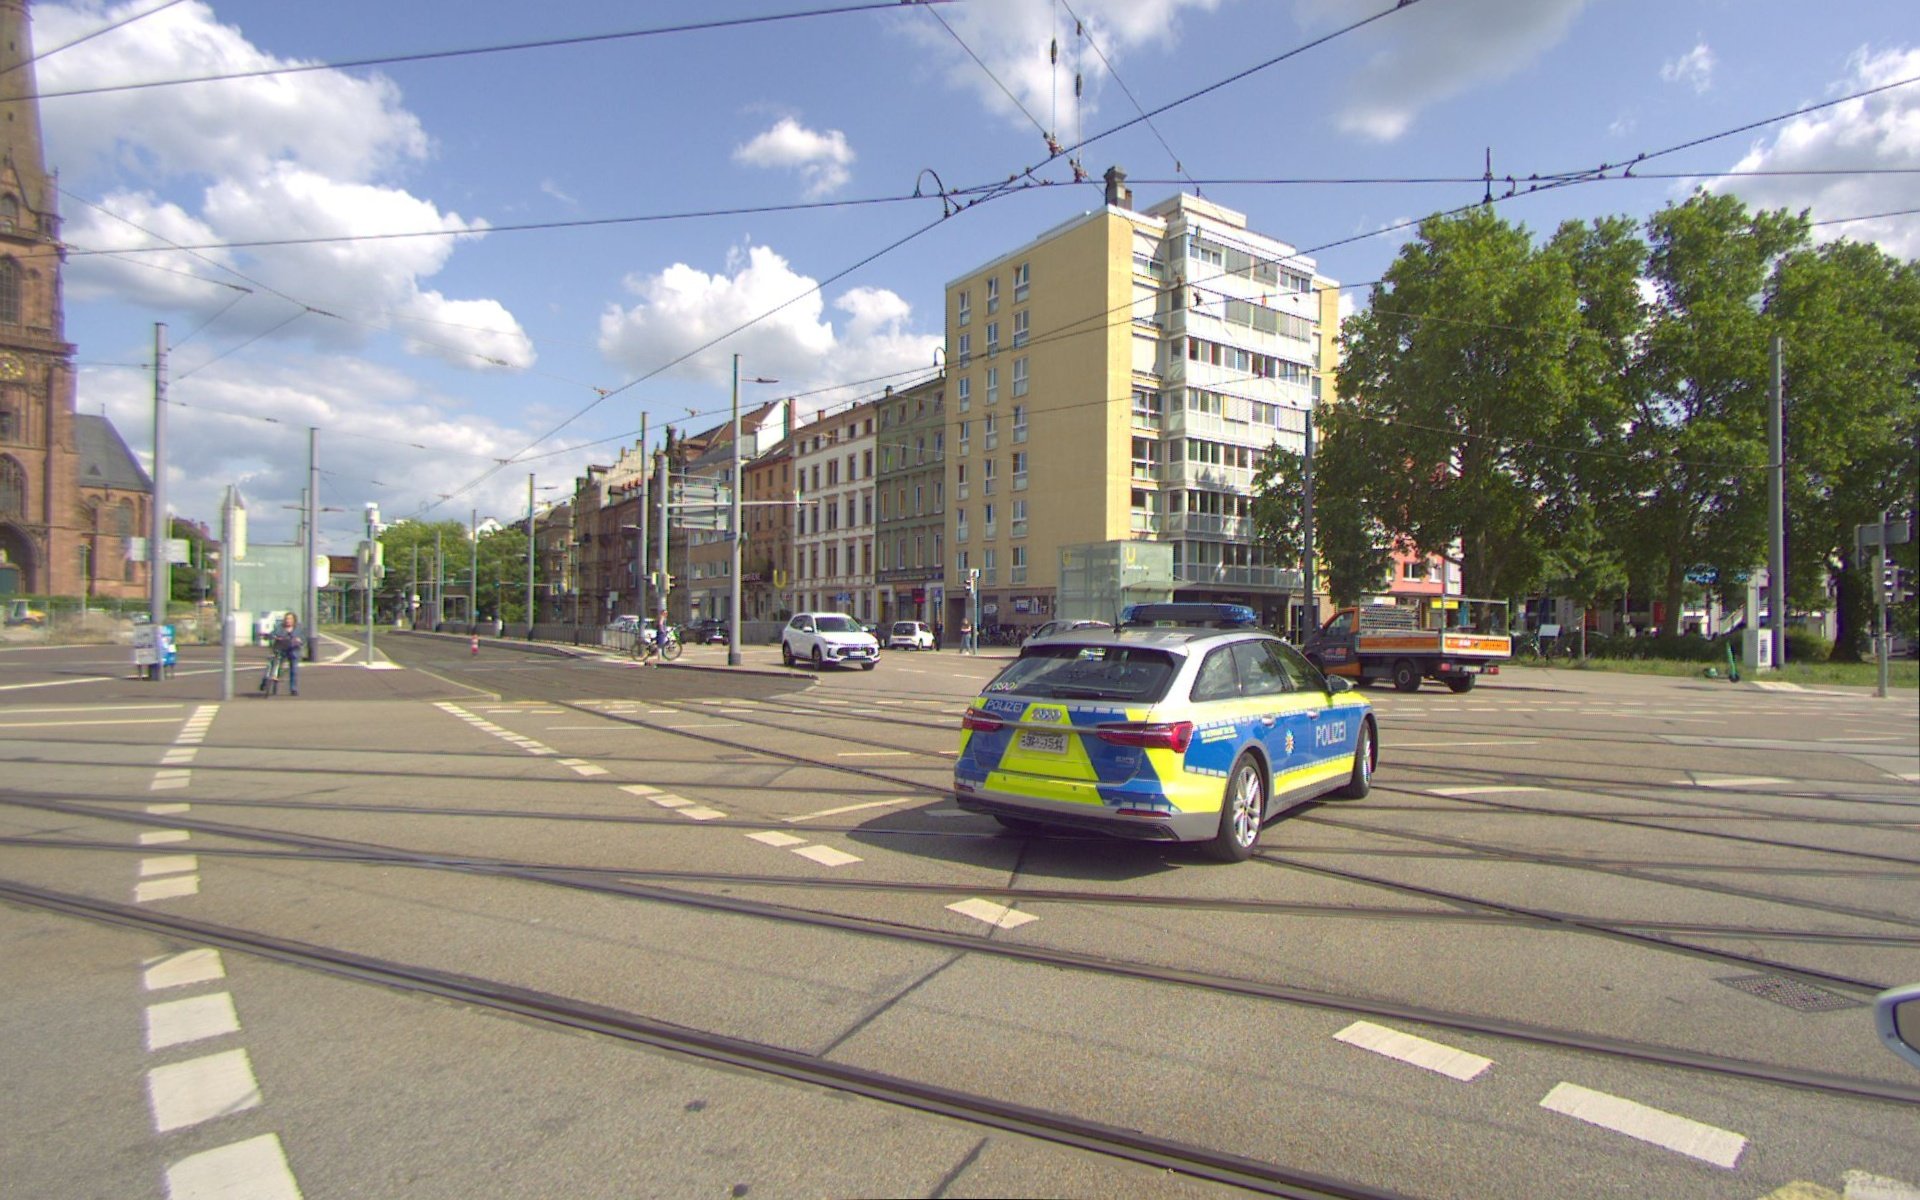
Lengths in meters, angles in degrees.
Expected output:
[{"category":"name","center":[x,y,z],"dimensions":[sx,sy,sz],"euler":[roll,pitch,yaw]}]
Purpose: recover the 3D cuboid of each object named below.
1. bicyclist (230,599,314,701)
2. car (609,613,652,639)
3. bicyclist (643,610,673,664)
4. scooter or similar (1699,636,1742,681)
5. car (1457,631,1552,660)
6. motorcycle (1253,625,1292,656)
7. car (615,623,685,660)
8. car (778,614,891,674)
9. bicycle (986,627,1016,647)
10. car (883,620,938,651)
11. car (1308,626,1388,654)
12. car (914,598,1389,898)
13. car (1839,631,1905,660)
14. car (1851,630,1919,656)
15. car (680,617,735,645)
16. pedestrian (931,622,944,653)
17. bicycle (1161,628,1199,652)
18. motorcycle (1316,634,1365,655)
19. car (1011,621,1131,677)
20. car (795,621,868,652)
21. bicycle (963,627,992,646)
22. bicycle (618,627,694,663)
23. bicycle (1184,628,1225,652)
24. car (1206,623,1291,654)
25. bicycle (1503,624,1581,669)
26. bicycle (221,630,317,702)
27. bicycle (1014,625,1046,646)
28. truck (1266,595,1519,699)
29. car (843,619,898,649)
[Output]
[{"category":"bicyclist","center":[-12.432,0.895,18.204],"dimensions":[0.981,1.754,1.294],"euler":[1,-2,-24]},{"category":"car","center":[-22.229,1.744,67.660],"dimensions":[2.021,1.599,4.505],"euler":[1,0,-28]},{"category":"bicyclist","center":[-10.376,1.256,34.473],"dimensions":[0.704,1.821,0.771],"euler":[1,1,-39]},{"category":"scooter or similar","center":[21.852,1.671,28.879],"dimensions":[0.391,1.209,1.175],"euler":[2,1,4]},{"category":"car","center":[26.495,2.197,49.011],"dimensions":[1.610,1.344,3.978],"euler":[2,-2,-23]},{"category":"motorcycle","center":[13.384,1.726,43.079],"dimensions":[0.888,1.254,2.218],"euler":[0,-1,-4]},{"category":"car","center":[-13.937,1.825,45.076],"dimensions":[1.979,1.548,4.056],"euler":[1,-1,-33]},{"category":"car","center":[-3.827,1.269,30.047],"dimensions":[2.017,1.661,4.258],"euler":[1,-1,-27]},{"category":"bicycle","center":[2.385,2.160,58.902],"dimensions":[0.790,1.118,1.788],"euler":[1,-1,-40]},{"category":"car","center":[-2.576,1.867,52.895],"dimensions":[1.861,1.516,3.903],"euler":[1,-2,13]},{"category":"car","center":[22.278,2.252,57.808],"dimensions":[1.786,1.515,3.959],"euler":[1,-1,-36]},{"category":"car","center":[1.794,0.836,7.760],"dimensions":[1.855,1.589,4.599],"euler":[0,-1,36]},{"category":"car","center":[62.141,3.100,68.536],"dimensions":[1.805,1.813,4.002],"euler":[1,-2,17]},{"category":"car","center":[65.878,3.051,71.050],"dimensions":[1.811,1.813,3.990],"euler":[2,-2,-13]},{"category":"car","center":[-13.977,1.703,55.426],"dimensions":[1.724,1.395,3.963],"euler":[2,-1,-33]},{"category":"pedestrian","center":[-1.163,1.930,51.375],"dimensions":[0.546,1.554,0.698],"euler":[1,-2,-14]},{"category":"bicycle","center":[11.117,1.988,50.738],"dimensions":[0.790,1.162,1.789],"euler":[1,-1,-39]},{"category":"motorcycle","center":[17.392,2.017,45.949],"dimensions":[2.003,0.929,0.811],"euler":[-1,-1,15]},{"category":"car","center":[3.086,1.348,28.732],"dimensions":[1.826,1.494,3.981],"euler":[0,-1,-20]},{"category":"car","center":[-6.304,1.756,49.082],"dimensions":[1.728,1.395,3.954],"euler":[2,-1,-39]},{"category":"bicycle","center":[1.047,2.183,60.441],"dimensions":[0.790,1.118,1.788],"euler":[1,-1,-40]},{"category":"bicycle","center":[-10.416,1.532,34.443],"dimensions":[2.339,1.153,0.879],"euler":[1,1,-41]},{"category":"bicycle","center":[12.400,2.040,50.977],"dimensions":[0.790,1.162,1.927],"euler":[1,-1,-39]},{"category":"car","center":[14.691,1.953,51.331],"dimensions":[1.657,1.416,3.958],"euler":[3,-2,-37]},{"category":"bicycle","center":[19.832,1.565,34.278],"dimensions":[0.804,1.433,2.153],"euler":[0,0,-36]},{"category":"bicycle","center":[-12.418,1.148,18.150],"dimensions":[0.981,1.204,2.287],"euler":[1,-2,-24]},{"category":"bicycle","center":[3.972,2.004,56.787],"dimensions":[0.790,1.118,1.788],"euler":[1,-1,-40]},{"category":"truck","center":[10.152,1.059,24.261],"dimensions":[2.310,2.184,5.827],"euler":[1,-1,-19]},{"category":"car","center":[-4.772,1.844,54.193],"dimensions":[1.861,1.516,3.903],"euler":[1,-2,12]}]
